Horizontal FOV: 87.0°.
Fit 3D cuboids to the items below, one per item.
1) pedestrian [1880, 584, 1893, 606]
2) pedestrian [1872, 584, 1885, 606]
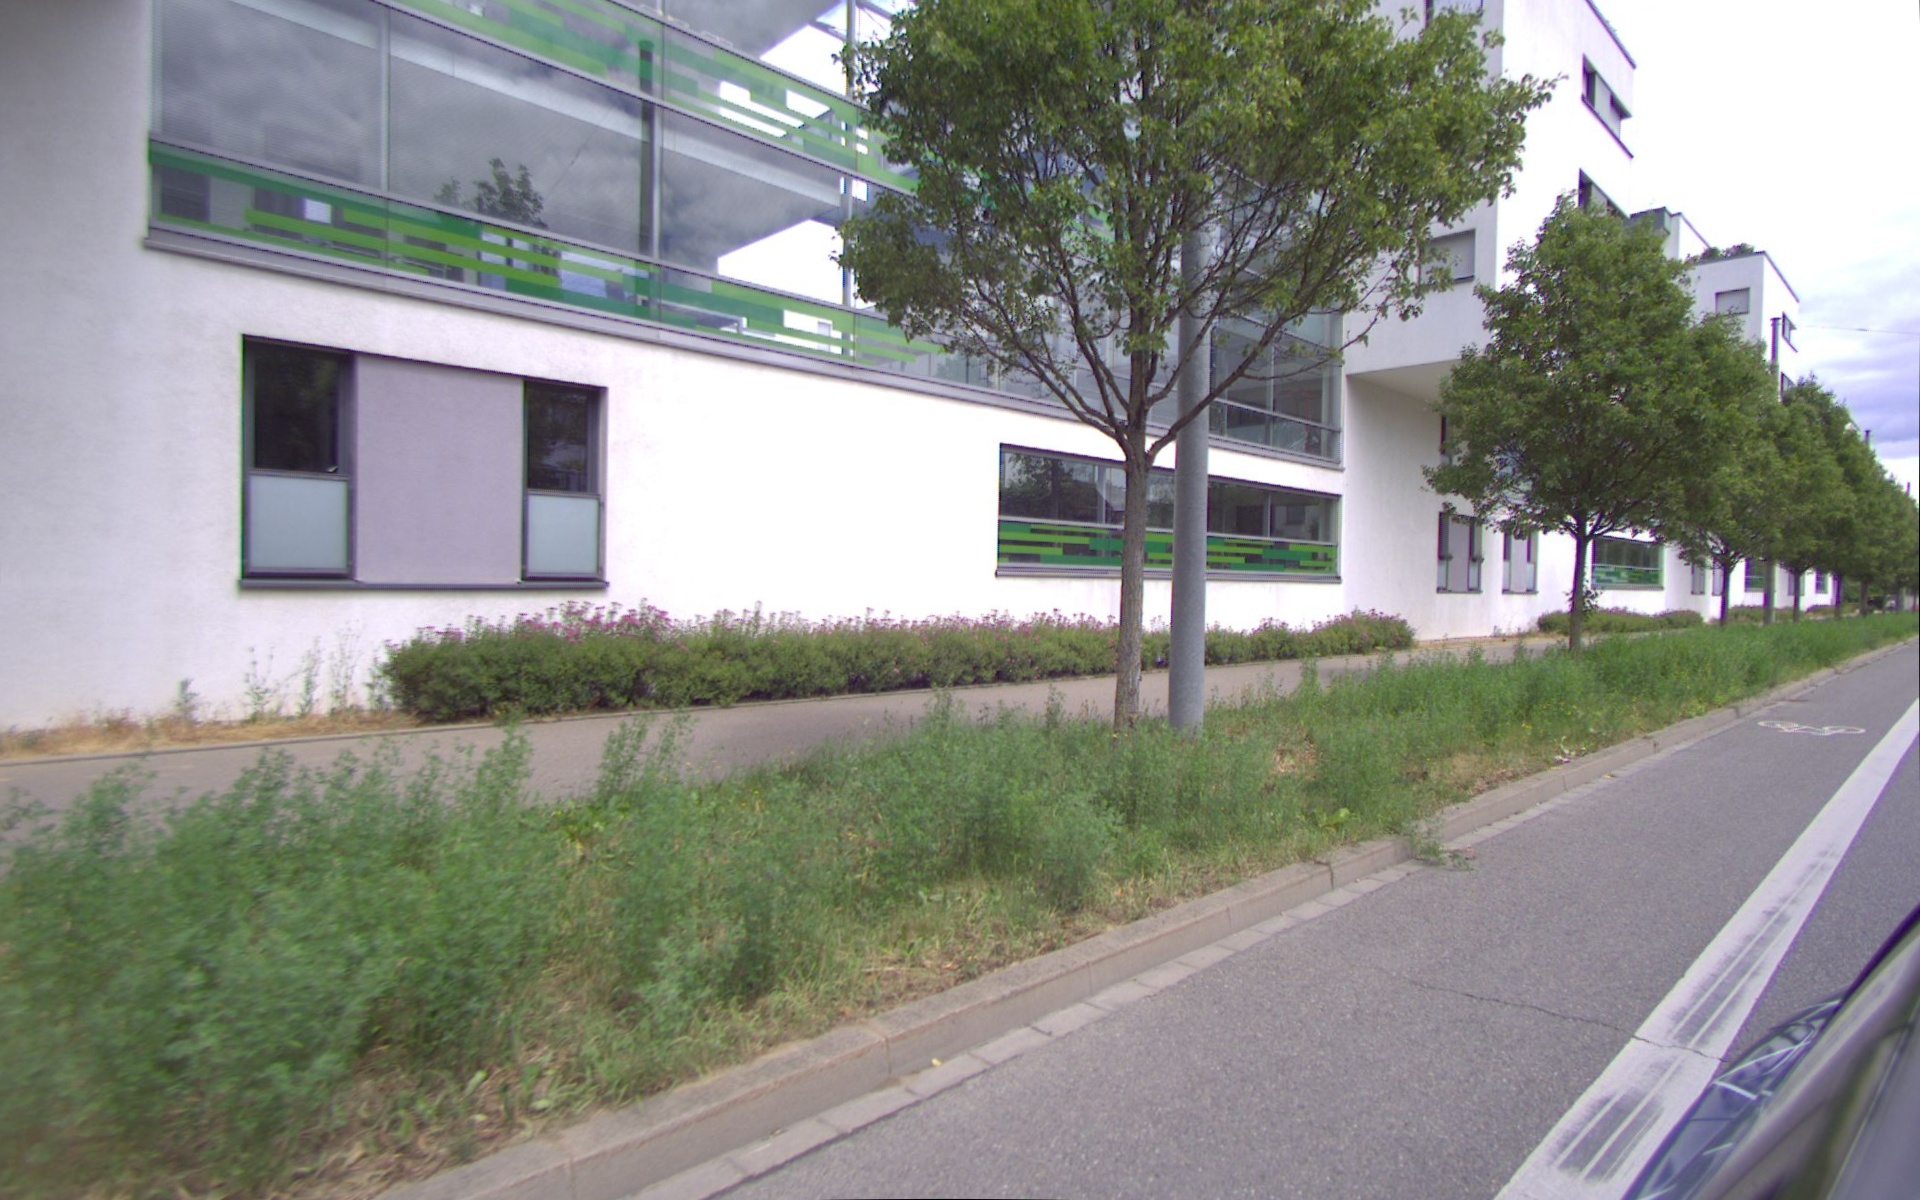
[{"bbox_3d":[78.312,-0.423,85.520,0.740,1.910,0.691,-1,0,44],"label":"pedestrian"},{"bbox_3d":[78.316,-0.397,86.294,0.612,1.864,0.585,-1,0,20],"label":"pedestrian"}]
